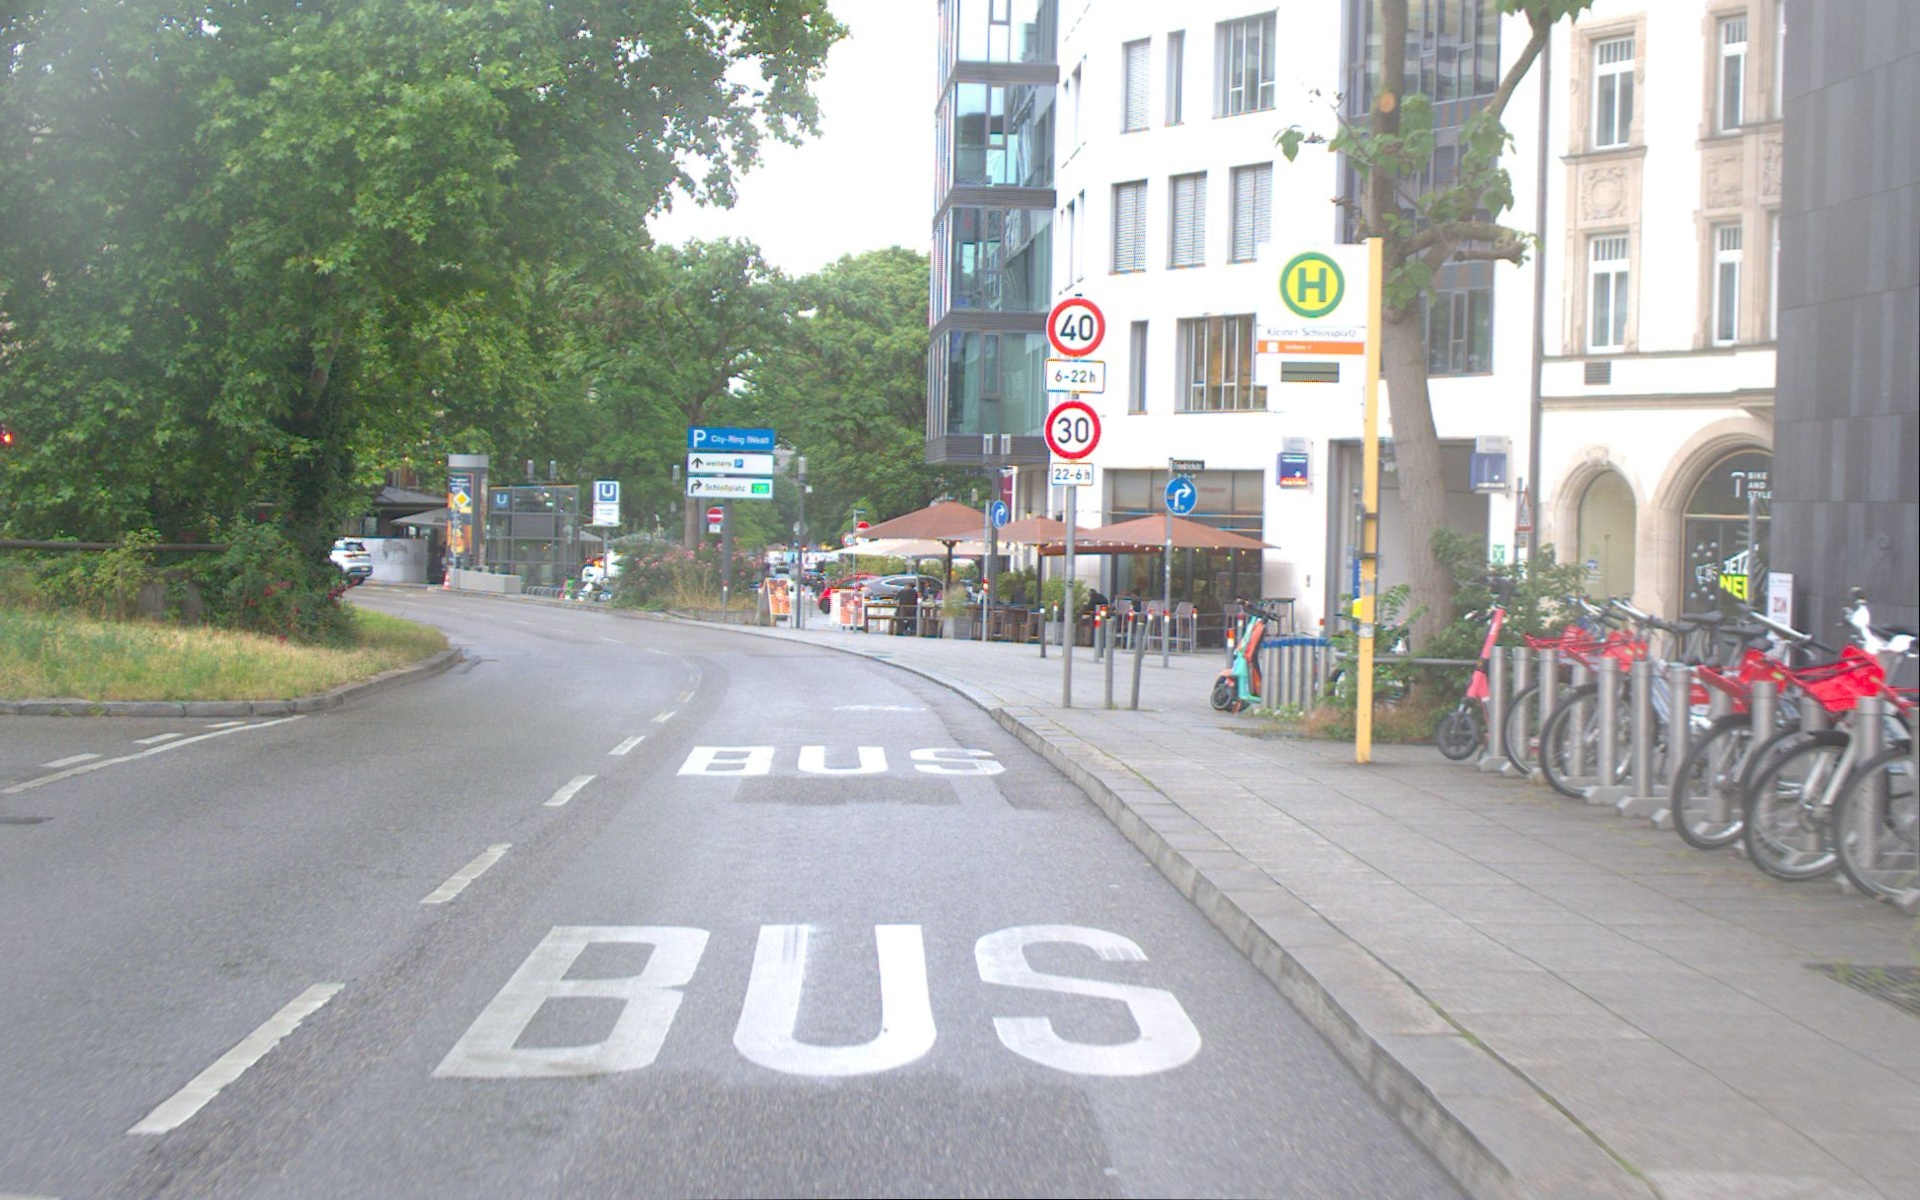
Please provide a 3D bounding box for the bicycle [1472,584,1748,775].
[{"bbox_3d":[4.026,0.489,21.344,1.534,1.136,0.662,1,-1,-8],"label":"bicycle"}]

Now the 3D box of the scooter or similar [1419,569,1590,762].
[{"bbox_3d":[3.618,0.434,22.853,1.060,1.253,0.302,1,-1,-9],"label":"scooter or similar"}]

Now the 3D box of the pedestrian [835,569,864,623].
[{"bbox_3d":[-2.779,-0.107,86.538,0.606,1.322,0.567,4,0,-6],"label":"pedestrian"}]

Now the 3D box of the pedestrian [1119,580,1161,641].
[{"bbox_3d":[4.067,0.232,77.697,0.626,1.322,0.636,4,0,-26],"label":"pedestrian"}]

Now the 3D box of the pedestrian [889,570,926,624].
[{"bbox_3d":[-1.356,-0.076,88.394,0.817,1.322,0.636,4,0,-6],"label":"pedestrian"}]

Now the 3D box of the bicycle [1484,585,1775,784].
[{"bbox_3d":[3.979,0.500,20.480,1.534,1.136,0.689,1,-1,-8],"label":"bicycle"}]

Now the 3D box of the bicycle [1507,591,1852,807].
[{"bbox_3d":[3.954,0.540,18.933,1.705,1.136,0.689,1,-1,-8],"label":"bicycle"}]

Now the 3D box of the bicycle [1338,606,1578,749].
[{"bbox_3d":[4.020,0.621,27.798,1.794,1.064,0.556,3,-1,-6],"label":"bicycle"}]

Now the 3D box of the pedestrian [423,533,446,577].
[{"bbox_3d":[-20.292,-1.725,132.830,0.722,1.696,0.618,1,0,6],"label":"pedestrian"}]

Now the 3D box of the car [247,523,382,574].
[{"bbox_3d":[-22.910,-1.825,121.995,4.336,1.661,1.951,2,0,23],"label":"car"}]

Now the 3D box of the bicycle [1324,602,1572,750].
[{"bbox_3d":[3.820,0.593,26.936,1.794,1.064,0.556,3,-1,-6],"label":"bicycle"}]

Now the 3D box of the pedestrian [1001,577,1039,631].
[{"bbox_3d":[1.533,0.102,88.253,0.817,1.322,0.636,4,0,-6],"label":"pedestrian"}]

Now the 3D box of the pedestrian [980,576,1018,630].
[{"bbox_3d":[1.004,0.076,88.920,0.817,1.322,0.636,4,0,-6],"label":"pedestrian"}]

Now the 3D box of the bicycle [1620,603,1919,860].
[{"bbox_3d":[3.989,0.593,15.804,1.729,1.136,0.689,0,1,-8],"label":"bicycle"}]

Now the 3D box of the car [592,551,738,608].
[{"bbox_3d":[-9.838,-0.690,114.991,4.734,1.685,2.005,3,1,-2],"label":"car"}]

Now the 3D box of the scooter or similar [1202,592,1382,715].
[{"bbox_3d":[3.572,0.572,37.031,1.791,1.239,0.596,3,-1,-7],"label":"scooter or similar"}]

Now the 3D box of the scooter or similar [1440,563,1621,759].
[{"bbox_3d":[3.731,0.400,22.495,1.105,1.253,0.302,1,-1,-9],"label":"scooter or similar"}]

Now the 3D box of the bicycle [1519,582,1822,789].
[{"bbox_3d":[4.062,0.487,19.701,1.534,1.136,0.689,1,-1,-8],"label":"bicycle"}]

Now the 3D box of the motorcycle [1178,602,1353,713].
[{"bbox_3d":[3.372,0.632,37.963,1.791,1.136,0.596,3,-1,-7],"label":"motorcycle"}]

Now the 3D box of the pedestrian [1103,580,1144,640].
[{"bbox_3d":[3.727,0.223,78.495,0.626,1.322,0.636,4,0,-26],"label":"pedestrian"}]

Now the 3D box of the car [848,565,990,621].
[{"bbox_3d":[-1.422,-0.256,117.706,4.734,1.685,2.005,3,1,-2],"label":"car"}]

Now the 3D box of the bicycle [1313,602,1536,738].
[{"bbox_3d":[4.096,0.613,30.366,1.794,1.104,0.670,3,-1,-8],"label":"bicycle"}]

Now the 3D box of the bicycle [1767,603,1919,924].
[{"bbox_3d":[4.061,0.612,13.195,1.729,1.179,0.689,0,1,-8],"label":"bicycle"}]

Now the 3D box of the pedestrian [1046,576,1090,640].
[{"bbox_3d":[2.298,0.167,73.261,0.773,1.322,0.636,4,0,-7],"label":"pedestrian"}]

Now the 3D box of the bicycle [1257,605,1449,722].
[{"bbox_3d":[4.003,0.647,35.055,1.794,1.104,0.670,3,-1,-8],"label":"bicycle"}]

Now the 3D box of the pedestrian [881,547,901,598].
[{"bbox_3d":[-2.642,-1.041,131.971,0.624,1.926,0.787,2,0,4],"label":"pedestrian"}]

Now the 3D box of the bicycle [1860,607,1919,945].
[{"bbox_3d":[4.207,0.626,12.371,1.729,1.179,0.689,0,1,-8],"label":"bicycle"}]

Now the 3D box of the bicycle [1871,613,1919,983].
[{"bbox_3d":[3.933,0.645,11.177,1.729,1.179,0.689,0,1,-8],"label":"bicycle"}]

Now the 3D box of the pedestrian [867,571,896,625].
[{"bbox_3d":[-1.977,-0.045,86.648,0.606,1.322,0.567,4,0,-6],"label":"pedestrian"}]

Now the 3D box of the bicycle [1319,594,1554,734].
[{"bbox_3d":[3.942,0.527,28.476,1.794,1.064,0.556,3,-1,-6],"label":"bicycle"}]

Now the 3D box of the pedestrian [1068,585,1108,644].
[{"bbox_3d":[2.973,0.331,79.796,0.626,1.322,0.636,4,0,-26],"label":"pedestrian"}]

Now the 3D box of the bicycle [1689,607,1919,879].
[{"bbox_3d":[4.141,0.613,15.002,1.729,1.136,0.689,0,1,-8],"label":"bicycle"}]

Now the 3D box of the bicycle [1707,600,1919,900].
[{"bbox_3d":[4.032,0.603,14.131,1.729,1.179,0.689,0,1,-8],"label":"bicycle"}]
